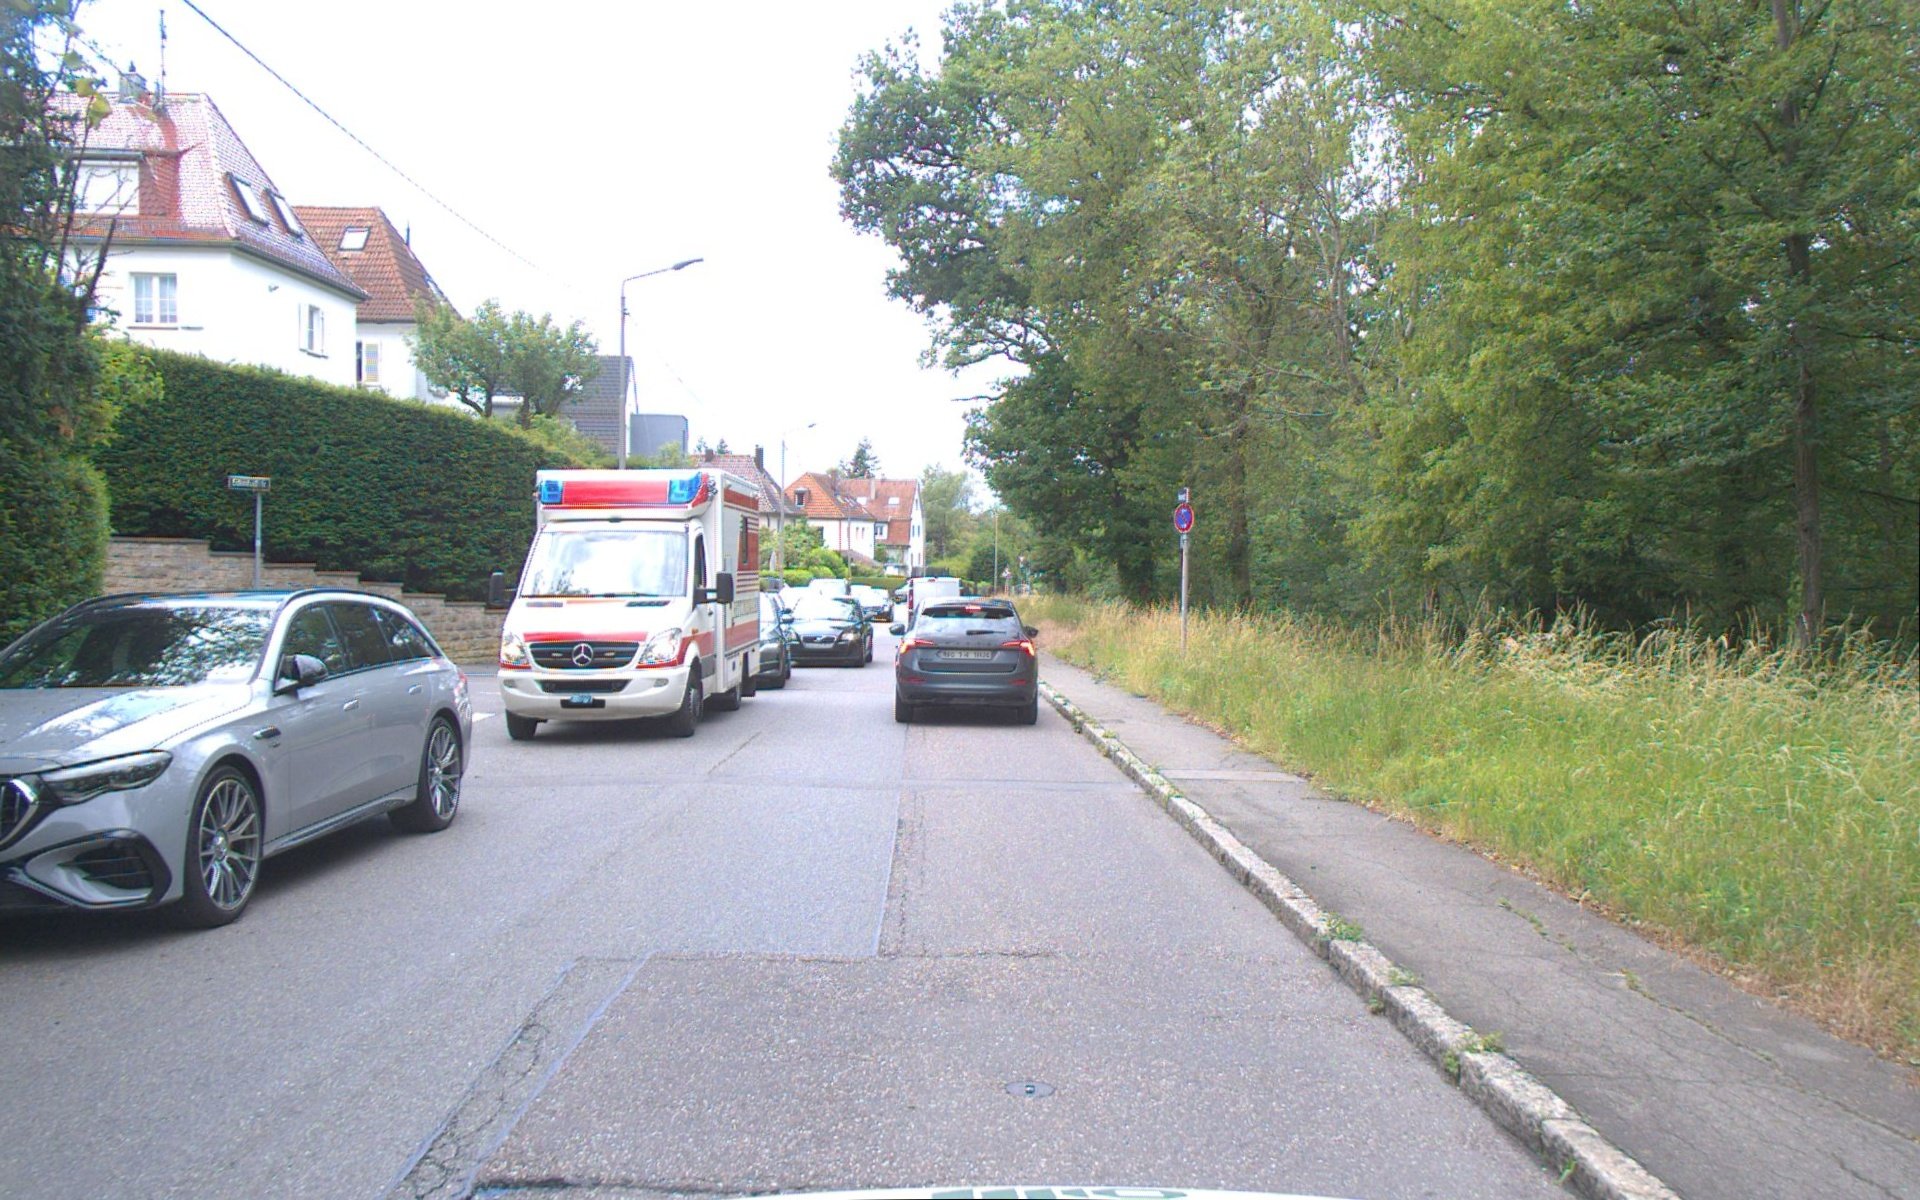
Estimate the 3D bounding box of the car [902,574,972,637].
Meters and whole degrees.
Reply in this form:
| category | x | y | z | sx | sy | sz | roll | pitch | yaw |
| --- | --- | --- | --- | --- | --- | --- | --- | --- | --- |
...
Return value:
| category | x | y | z | sx | sy | sz | roll | pitch | yaw |
| --- | --- | --- | --- | --- | --- | --- | --- | --- | --- |
| car | -0.818 | 0.137 | 55.088 | 2.031 | 1.955 | 4.918 | 1 | 0 | -4 |

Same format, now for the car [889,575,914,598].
| category | x | y | z | sx | sy | sz | roll | pitch | yaw |
| --- | --- | --- | --- | --- | --- | --- | --- | --- | --- |
| car | -4.302 | -1.009 | 121.615 | 1.796 | 1.624 | 4.323 | 1 | 1 | -2 |

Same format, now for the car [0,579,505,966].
| category | x | y | z | sx | sy | sz | roll | pitch | yaw |
| --- | --- | --- | --- | --- | --- | --- | --- | --- | --- |
| car | -4.087 | 0.695 | 9.052 | 1.761 | 1.531 | 4.863 | -1 | 0 | 1 |

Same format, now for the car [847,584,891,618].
| category | x | y | z | sx | sy | sz | roll | pitch | yaw |
| --- | --- | --- | --- | --- | --- | --- | --- | --- | --- |
| car | -4.132 | 0.028 | 75.670 | 1.825 | 1.439 | 4.591 | 2 | 0 | -2 |

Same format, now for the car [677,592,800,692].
| category | x | y | z | sx | sy | sz | roll | pitch | yaw |
| --- | --- | --- | --- | --- | --- | --- | --- | --- | --- |
| car | -3.541 | 0.619 | 27.094 | 1.729 | 1.471 | 4.470 | 0 | 0 | -4 |

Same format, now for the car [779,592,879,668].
| category | x | y | z | sx | sy | sz | roll | pitch | yaw |
| --- | --- | --- | --- | --- | --- | --- | --- | --- | --- |
| car | -2.662 | 0.575 | 34.498 | 1.727 | 1.471 | 4.473 | 0 | 0 | 0 |

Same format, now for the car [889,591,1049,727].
| category | x | y | z | sx | sy | sz | roll | pitch | yaw |
| --- | --- | --- | --- | --- | --- | --- | --- | --- | --- |
| car | 0.007 | 0.663 | 20.873 | 1.694 | 1.464 | 4.320 | 1 | 1 | -4 |

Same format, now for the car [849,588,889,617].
| category | x | y | z | sx | sy | sz | roll | pitch | yaw |
| --- | --- | --- | --- | --- | --- | --- | --- | --- | --- |
| car | -5.016 | 0.138 | 91.537 | 1.746 | 1.526 | 4.017 | 2 | 0 | 4 |

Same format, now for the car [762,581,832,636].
| category | x | y | z | sx | sy | sz | roll | pitch | yaw |
| --- | --- | --- | --- | --- | --- | --- | --- | --- | --- |
| car | -5.196 | 0.261 | 53.161 | 1.800 | 1.677 | 4.185 | 1 | 0 | 0 |

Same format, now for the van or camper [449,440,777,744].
| category | x | y | z | sx | sy | sz | roll | pitch | yaw |
| --- | --- | --- | --- | --- | --- | --- | --- | --- | --- |
| van or camper | -3.761 | -0.099 | 19.632 | 2.406 | 2.945 | 7.167 | 0 | 0 | 0 |
